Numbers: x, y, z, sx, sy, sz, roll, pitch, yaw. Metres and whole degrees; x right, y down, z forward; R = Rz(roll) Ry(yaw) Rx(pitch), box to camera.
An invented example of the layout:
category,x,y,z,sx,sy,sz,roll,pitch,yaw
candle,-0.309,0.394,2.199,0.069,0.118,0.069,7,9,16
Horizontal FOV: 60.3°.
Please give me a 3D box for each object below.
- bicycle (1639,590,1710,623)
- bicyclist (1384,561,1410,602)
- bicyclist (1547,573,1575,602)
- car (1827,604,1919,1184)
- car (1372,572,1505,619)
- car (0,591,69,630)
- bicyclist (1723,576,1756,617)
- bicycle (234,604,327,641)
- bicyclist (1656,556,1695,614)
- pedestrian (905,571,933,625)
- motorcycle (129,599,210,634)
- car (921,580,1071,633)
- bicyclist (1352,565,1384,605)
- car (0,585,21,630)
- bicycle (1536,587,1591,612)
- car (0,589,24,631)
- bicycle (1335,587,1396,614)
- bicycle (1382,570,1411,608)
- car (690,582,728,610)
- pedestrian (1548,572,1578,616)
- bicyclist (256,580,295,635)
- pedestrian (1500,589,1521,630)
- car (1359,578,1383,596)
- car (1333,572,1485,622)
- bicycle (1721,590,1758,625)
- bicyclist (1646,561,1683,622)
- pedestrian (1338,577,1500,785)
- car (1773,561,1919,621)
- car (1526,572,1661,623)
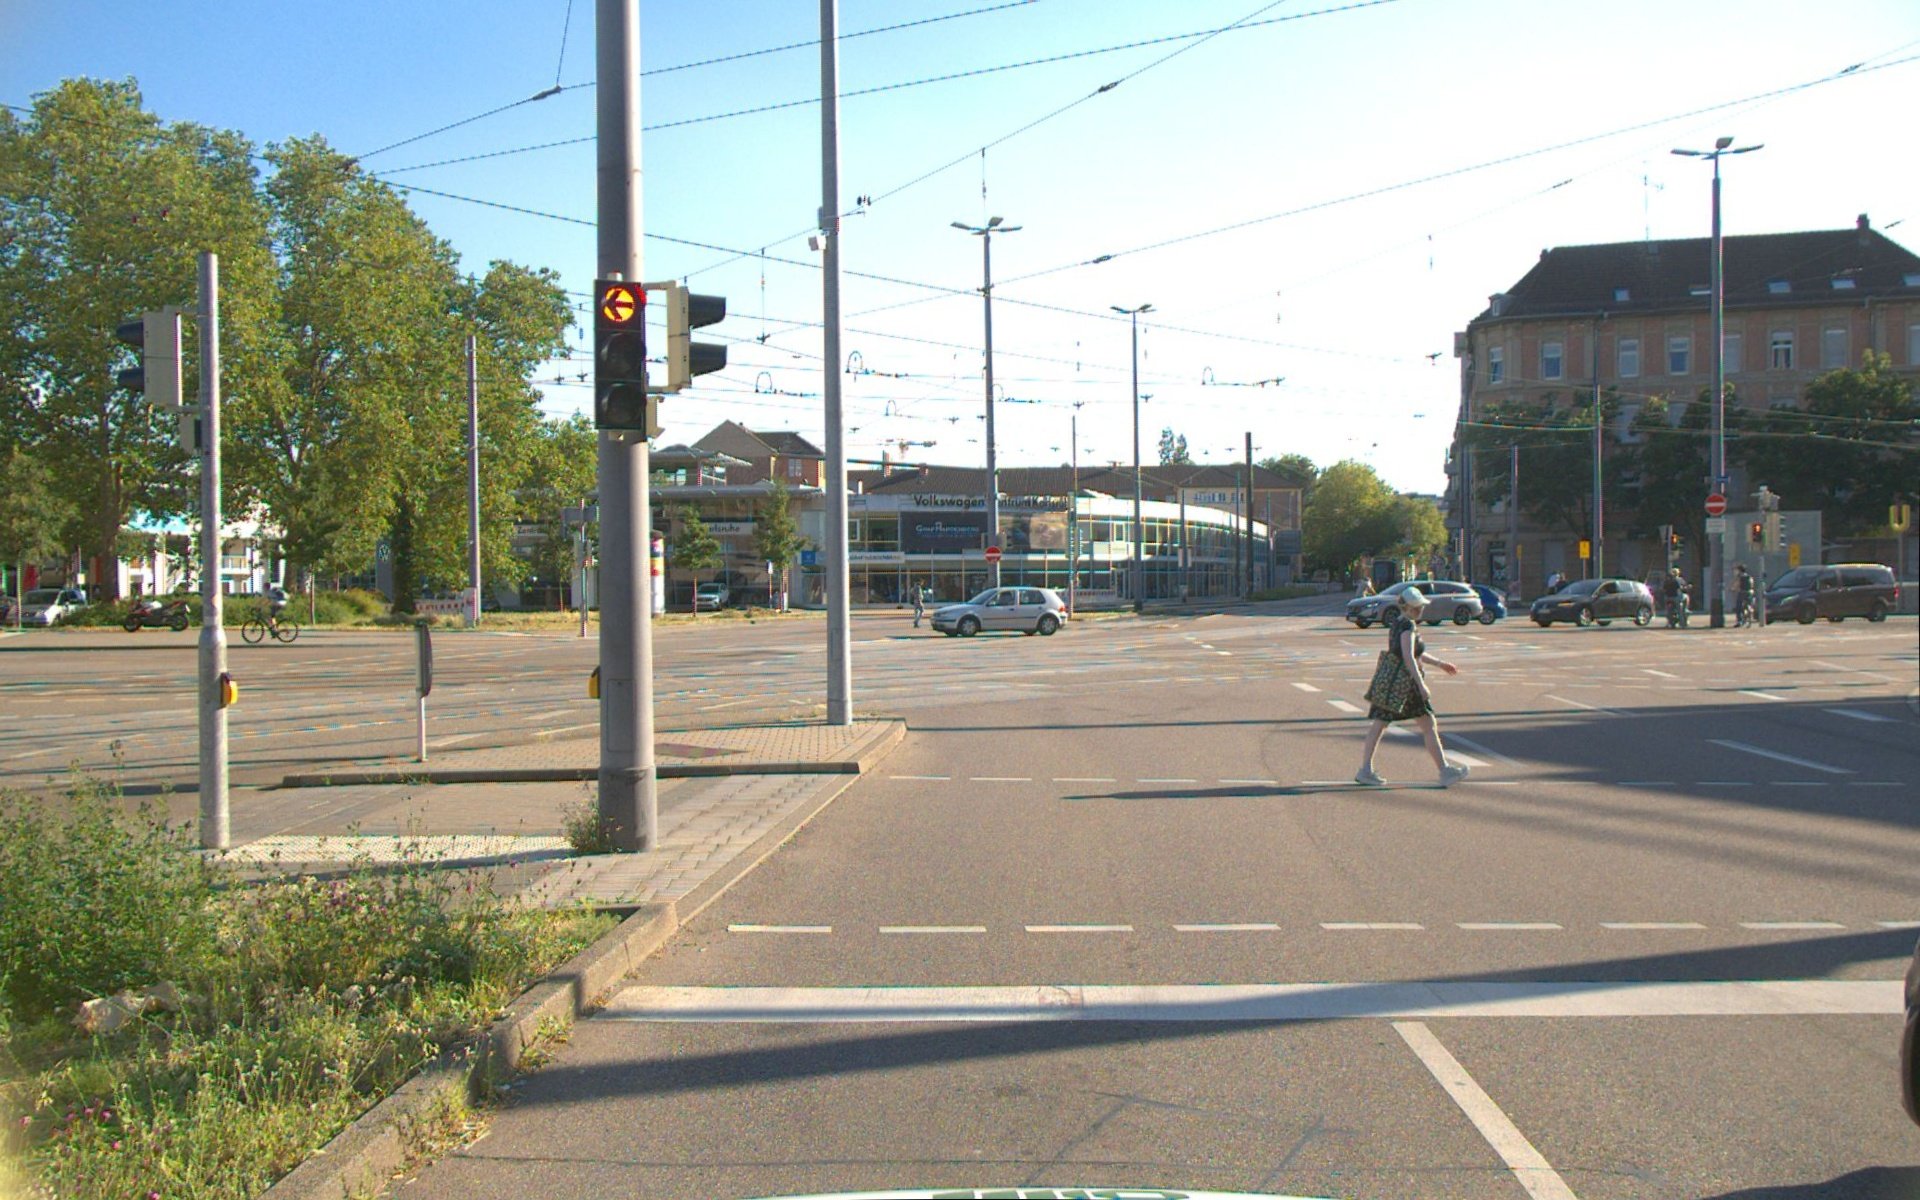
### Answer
category,x,y,z,sx,sy,sz,roll,pitch,yaw
bicycle,21.503,0.190,49.769,2.275,0.921,0.850,-1,3,-34
bicyclist,21.254,-0.920,80.417,1.096,1.933,1.074,1,2,20
bicyclist,25.125,-0.529,69.108,0.704,1.162,0.830,-1,3,-27
car,3.276,0.780,2.681,1.763,1.469,3.979,1,1,2
car,17.152,-0.171,59.285,4.505,1.622,1.955,0,0,18
car,-36.864,0.390,65.505,1.815,1.477,3.986,0,1,-14
bicyclist,23.388,-0.108,49.637,0.840,1.197,0.715,1,2,22
bicycle,-20.046,0.651,48.839,2.396,1.021,0.960,-1,0,-14
bicyclist,21.509,-0.464,49.751,0.643,1.720,0.850,-1,2,-33
pedestrian,-1.437,-0.089,58.120,0.969,1.847,0.920,0,2,0
motorcycle,-25.470,0.519,53.330,2.244,1.072,0.686,0,2,-11
car,1.057,0.182,49.017,4.031,1.477,1.944,-1,0,-18
bicyclist,16.208,-0.599,65.756,0.910,1.586,0.855,0,2,-20
car,-43.347,0.342,72.229,3.950,1.889,1.832,-1,3,-33
bicycle,25.256,-0.041,69.183,2.268,0.976,0.853,-1,2,-27
car,-45.521,0.479,76.347,3.950,1.889,1.832,-1,3,-33
bicycle,16.115,0.017,65.744,2.263,0.996,0.855,-1,2,-22
bicycle,21.241,-0.559,80.443,1.111,1.719,4.003,1,2,18
car,-15.643,-0.280,103.324,1.954,1.561,3.998,0,2,-4
pedestrian,23.990,-0.235,65.774,0.905,1.705,0.783,-1,0,2
bicyclist,-20.182,0.206,48.799,0.908,1.587,0.960,-1,0,-13
pedestrian,22.651,0.401,68.081,0.634,1.682,0.550,-1,0,-36
car,40.204,-1.296,161.738,1.764,1.684,3.919,1,2,21
car,14.521,-0.116,53.507,4.476,1.544,1.943,-1,0,-20
bicycle,23.380,0.209,49.617,0.840,0.921,2.304,1,2,21
bicyclist,21.059,-0.249,49.445,0.577,1.809,0.857,-1,0,-32
pedestrian,3.733,0.639,13.509,1.072,1.634,0.698,0,2,-8
car,29.900,-0.315,55.619,4.766,1.926,1.941,-1,0,-22
car,19.640,-0.086,51.248,4.050,1.512,1.932,-1,0,-33
